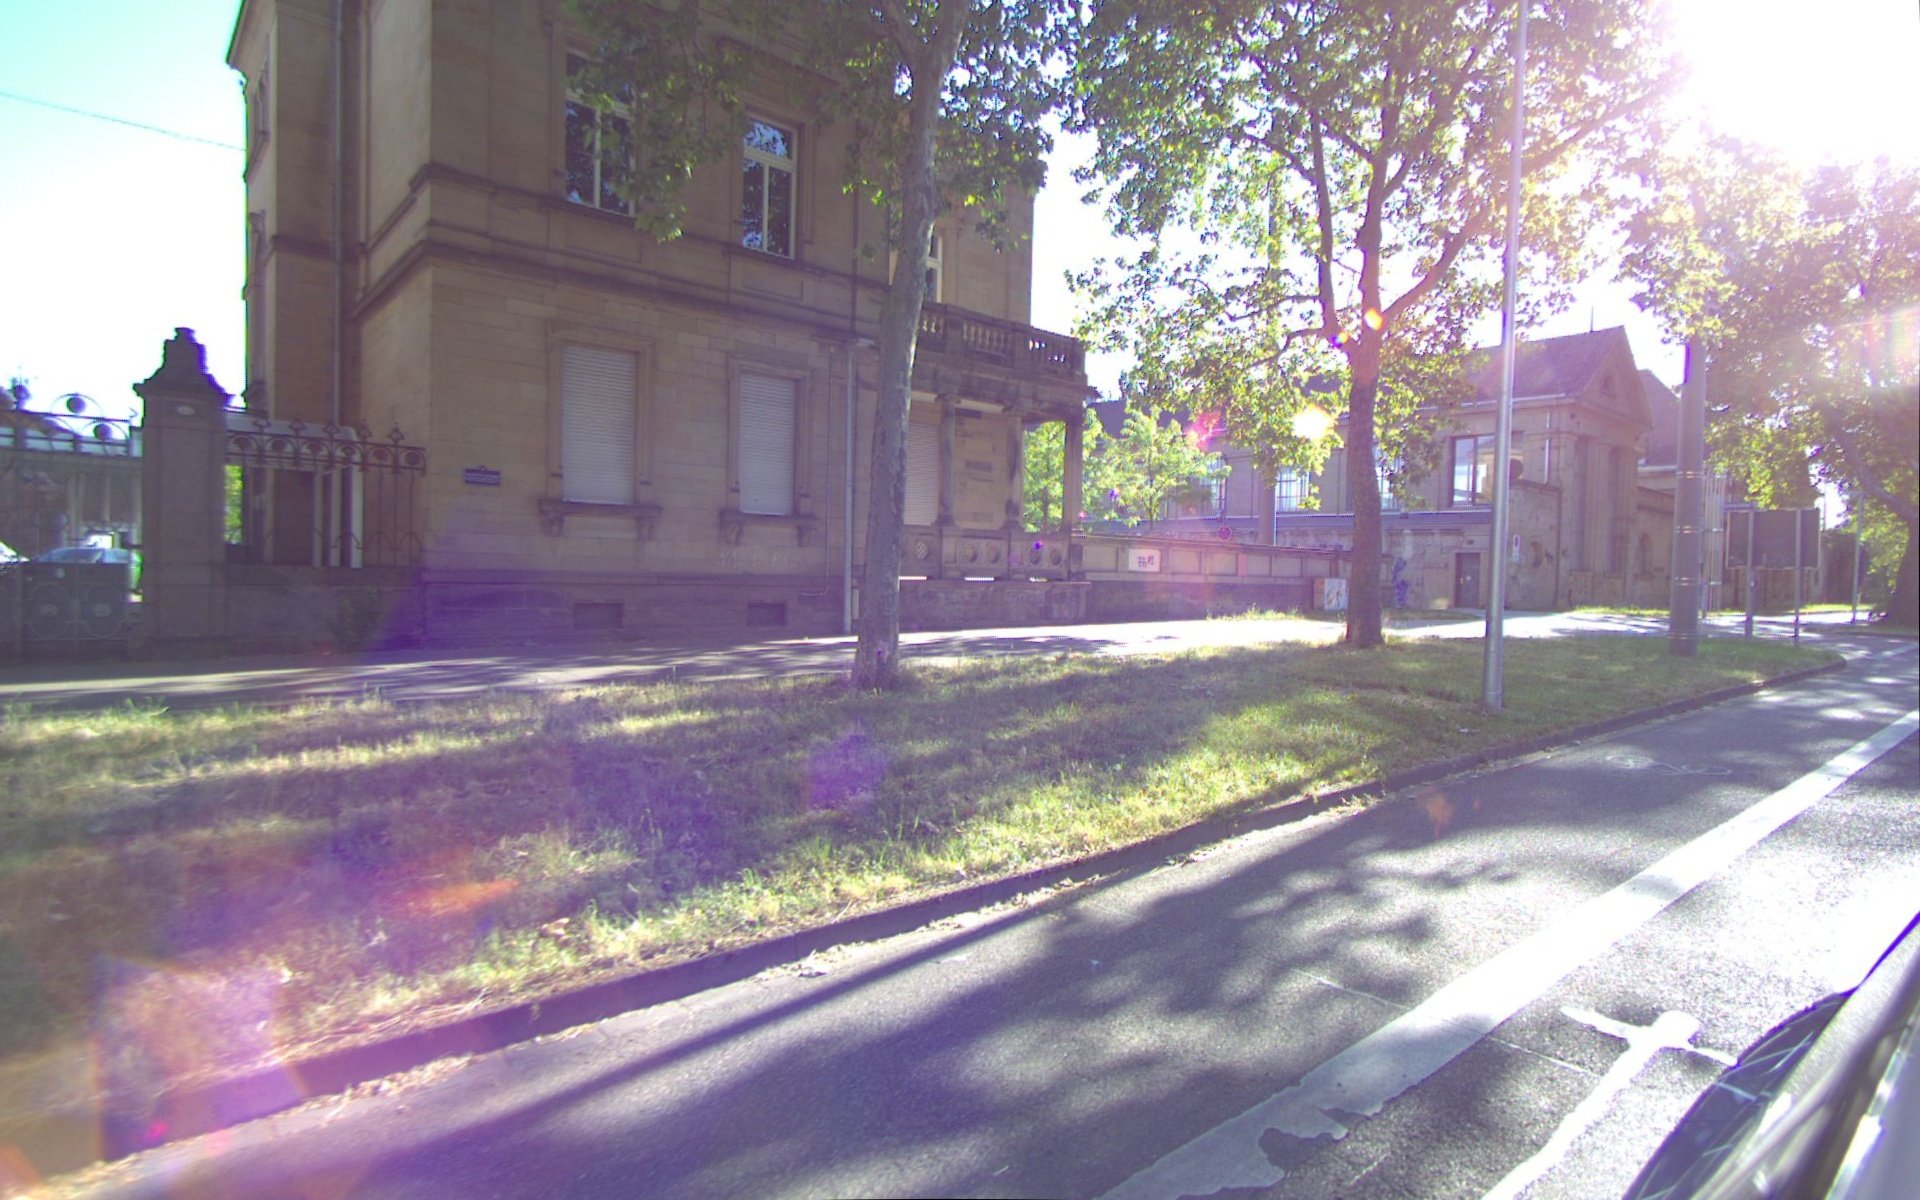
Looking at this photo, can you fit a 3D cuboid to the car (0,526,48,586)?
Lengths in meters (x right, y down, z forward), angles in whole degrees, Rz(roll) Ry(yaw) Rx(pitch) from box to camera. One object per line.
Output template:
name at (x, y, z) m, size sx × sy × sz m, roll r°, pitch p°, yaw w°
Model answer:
car at (-25.110, -1.127, 25.303) m, size 1.778 × 1.504 × 4.010 m, roll 1°, pitch 2°, yaw -15°

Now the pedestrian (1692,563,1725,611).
pedestrian at (26.916, -0.472, 36.402) m, size 0.859 × 1.682 × 0.672 m, roll 0°, pitch 3°, yaw -40°
